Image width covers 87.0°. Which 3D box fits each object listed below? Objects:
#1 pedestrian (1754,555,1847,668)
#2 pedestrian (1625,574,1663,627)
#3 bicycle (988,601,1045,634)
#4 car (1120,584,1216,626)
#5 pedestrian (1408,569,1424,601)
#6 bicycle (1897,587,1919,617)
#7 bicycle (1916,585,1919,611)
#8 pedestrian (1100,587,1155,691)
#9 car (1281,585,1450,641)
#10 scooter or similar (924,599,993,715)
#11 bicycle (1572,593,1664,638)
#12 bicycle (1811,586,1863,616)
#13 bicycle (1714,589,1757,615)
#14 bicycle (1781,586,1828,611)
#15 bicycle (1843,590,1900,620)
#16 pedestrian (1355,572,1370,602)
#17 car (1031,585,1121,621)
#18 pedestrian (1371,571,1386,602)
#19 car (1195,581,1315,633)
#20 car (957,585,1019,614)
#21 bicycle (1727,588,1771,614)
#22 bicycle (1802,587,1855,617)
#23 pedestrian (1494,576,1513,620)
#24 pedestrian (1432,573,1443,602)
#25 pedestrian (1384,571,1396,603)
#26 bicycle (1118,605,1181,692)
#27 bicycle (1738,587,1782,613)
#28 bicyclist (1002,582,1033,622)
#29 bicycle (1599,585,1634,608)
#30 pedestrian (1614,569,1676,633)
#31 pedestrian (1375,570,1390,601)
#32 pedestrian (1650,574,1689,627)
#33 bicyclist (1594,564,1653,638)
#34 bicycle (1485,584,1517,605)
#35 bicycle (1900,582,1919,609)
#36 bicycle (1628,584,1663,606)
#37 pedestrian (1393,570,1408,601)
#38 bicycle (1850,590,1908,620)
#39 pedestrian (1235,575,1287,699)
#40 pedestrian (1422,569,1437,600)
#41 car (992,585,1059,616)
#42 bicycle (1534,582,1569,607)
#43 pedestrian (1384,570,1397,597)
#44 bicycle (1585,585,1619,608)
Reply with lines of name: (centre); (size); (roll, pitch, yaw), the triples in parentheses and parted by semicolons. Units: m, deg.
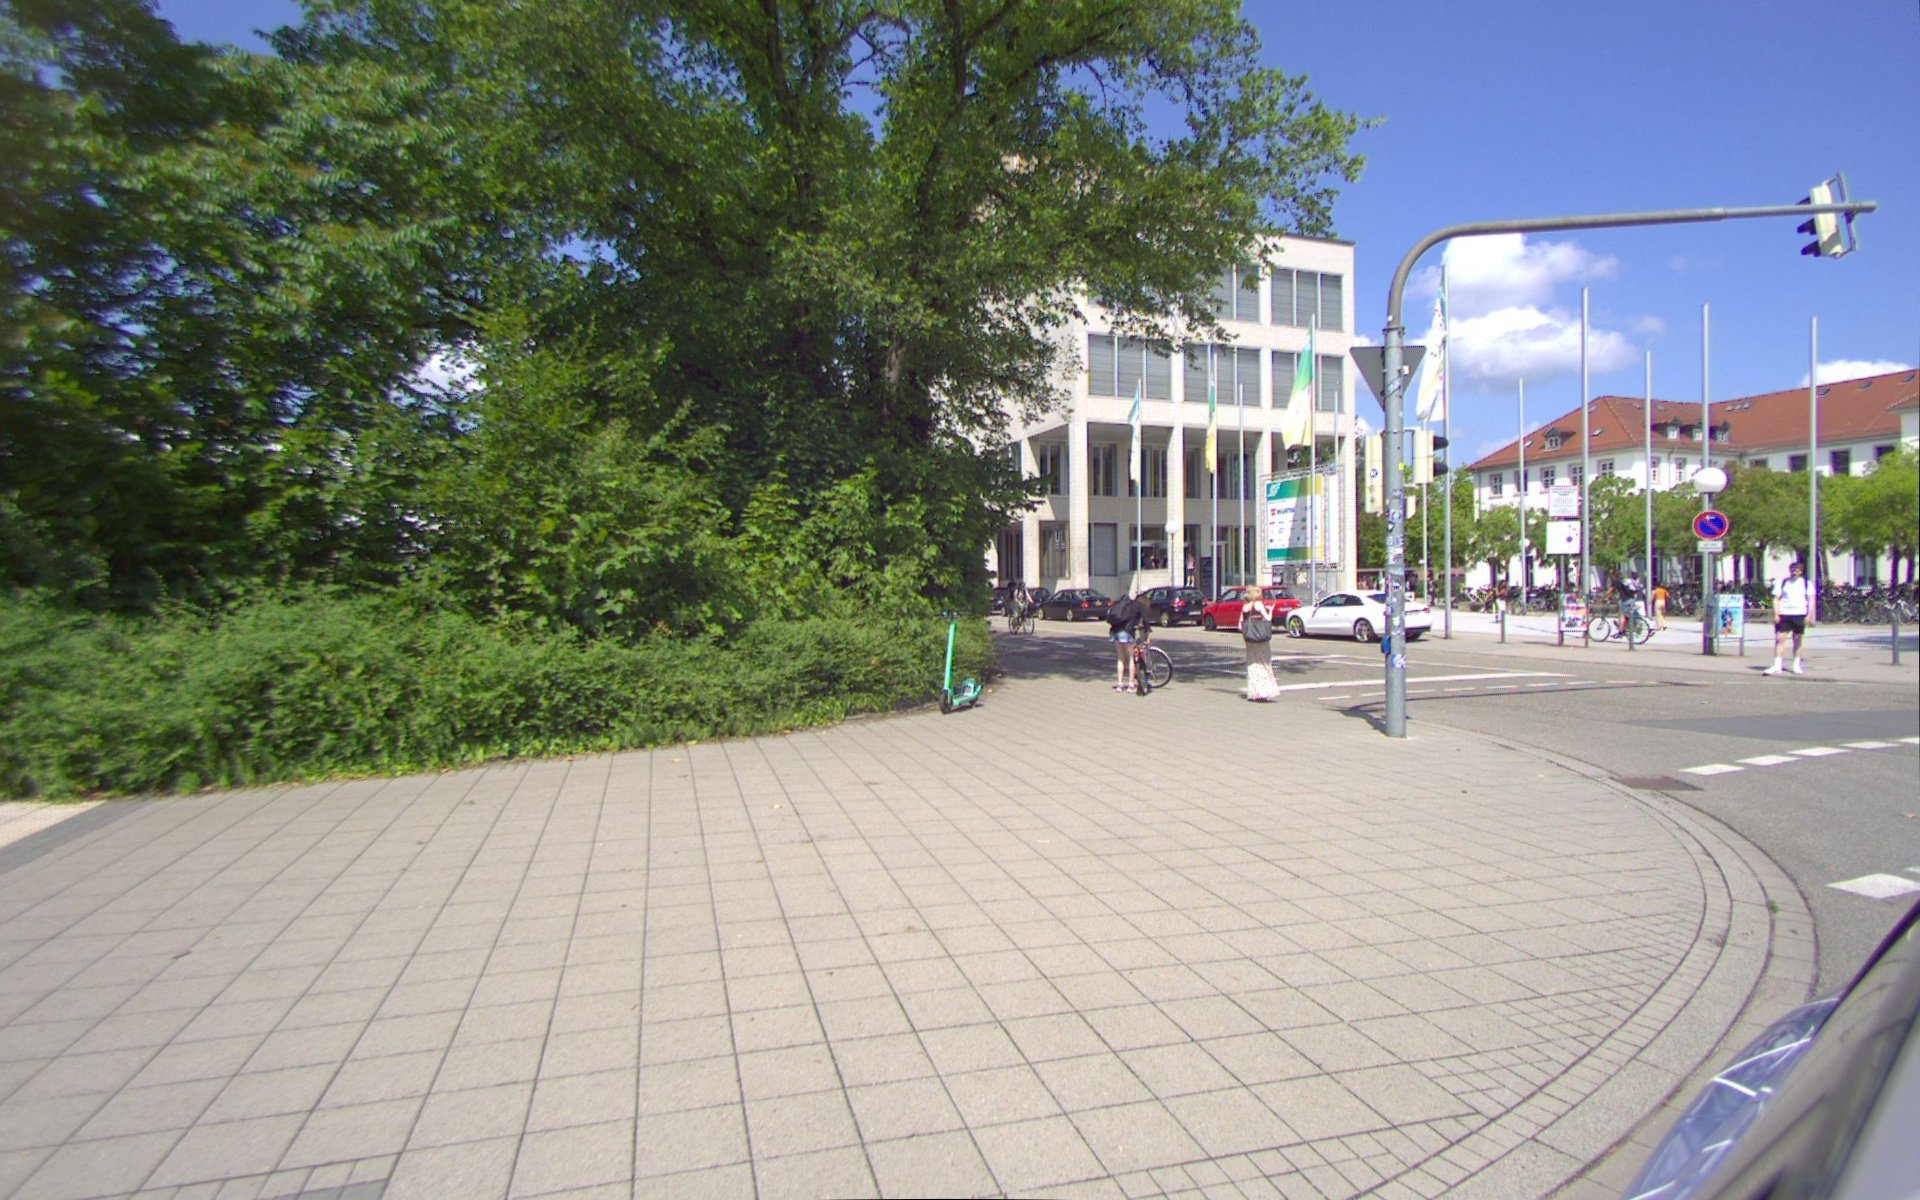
pedestrian: (14.595, 0.185, 17.585); (0.952, 1.896, 0.880); (-1, 0, -22)
pedestrian: (21.890, 0.010, 32.398); (0.673, 1.642, 0.833); (-1, 0, 8)
bicycle: (1.787, 0.531, 32.422); (0.635, 1.011, 2.164); (-1, 0, -34)
car: (7.777, 0.159, 38.120); (1.706, 1.465, 3.938); (-1, 1, -20)
pedestrian: (28.386, -0.939, 63.012); (0.671, 1.926, 0.791); (-1, 0, 38)
bicycle: (31.898, 0.065, 33.435); (0.345, 0.963, 1.374); (-1, 0, -23)
bicycle: (35.509, -0.069, 36.544); (0.345, 0.963, 1.415); (-1, 0, -23)
pedestrian: (2.436, 0.544, 14.684); (0.647, 1.435, 0.783); (2, 1, 18)
car: (11.208, 0.308, 28.338); (1.796, 1.415, 4.451); (-1, 1, -22)
scooter or similar: (0.004, 0.633, 11.815); (0.431, 1.249, 1.223); (1, 1, 18)
bicycle: (17.314, 0.385, 26.695); (0.676, 1.148, 2.058); (-1, 0, -17)
bicycle: (30.679, 0.030, 35.415); (0.345, 1.013, 1.374); (-1, 0, -23)
bicycle: (29.122, 0.058, 38.012); (0.345, 0.963, 1.374); (-1, 0, -14)
bicycle: (33.117, -0.057, 39.710); (0.345, 0.963, 1.374); (-1, 0, -26)
bicycle: (29.818, 0.160, 33.120); (0.345, 0.963, 1.374); (-1, 0, -23)
pedestrian: (25.828, -0.851, 64.911); (0.671, 1.926, 0.791); (-1, 0, 38)
car: (5.005, 0.091, 44.305); (1.960, 1.458, 4.410); (-1, 1, -23)
pedestrian: (26.619, -0.861, 64.393); (0.671, 1.926, 0.791); (-1, 0, 38)
car: (9.596, 0.188, 33.167); (1.736, 1.576, 3.824); (-1, 1, -23)
car: (1.431, -0.049, 53.329); (1.656, 1.414, 4.154); (-1, 1, -23)
bicycle: (29.583, 0.038, 37.970); (0.345, 0.963, 1.374); (-1, 0, -14)
bicycle: (30.217, 0.051, 35.232); (0.345, 1.013, 1.374); (-1, 0, -23)
pedestrian: (20.131, -0.087, 37.467); (0.531, 1.610, 0.433); (0, 0, 19)
pedestrian: (25.649, -0.665, 54.393); (0.467, 1.555, 0.559); (-1, 0, 19)
pedestrian: (23.401, -0.713, 55.050); (0.470, 1.735, 0.377); (-1, 0, 39)
bicycle: (2.770, 0.668, 14.677); (0.663, 1.157, 1.653); (2, 0, 19)
bicycle: (30.114, 0.001, 38.113); (0.345, 0.963, 1.374); (-1, 0, -14)
bicyclist: (1.841, 0.057, 32.381); (0.607, 1.241, 0.834); (-1, 0, -34)
bicycle: (28.003, -0.162, 43.208); (0.345, 0.963, 1.374); (-1, 0, -14)
pedestrian: (20.349, 0.033, 30.106); (0.686, 1.872, 1.324); (-1, -1, -20)
pedestrian: (26.734, -0.934, 64.034); (0.671, 1.926, 0.791); (-1, 0, 38)
pedestrian: (22.691, 0.005, 32.386); (0.673, 1.642, 0.834); (-1, 0, 6)
bicyclist: (17.357, 0.021, 26.476); (0.670, 1.877, 1.090); (-1, 0, -16)
bicycle: (25.996, -0.263, 48.621); (0.345, 0.963, 1.373); (-1, 0, -29)
bicycle: (34.494, -0.173, 36.072); (0.345, 0.963, 1.415); (-1, 0, -23)
bicycle: (30.178, -0.208, 44.575); (0.345, 0.963, 1.374); (-1, 0, -14)
pedestrian: (27.680, -0.932, 63.600); (0.671, 1.926, 0.791); (-1, 0, 38)
bicycle: (30.313, 0.145, 33.394); (0.345, 0.958, 1.374); (-1, 0, -23)
pedestrian: (4.108, 0.494, 13.818); (0.637, 1.647, 0.632); (-1, 0, 18)
pedestrian: (29.403, -0.982, 63.358); (0.671, 1.926, 0.791); (-1, 0, 38)
car: (3.146, -0.002, 49.372); (1.763, 1.448, 3.724); (-1, 1, -23)
bicycle: (26.443, -0.248, 45.257); (0.345, 1.088, 1.373); (-1, 0, -29)
pedestrian: (31.754, -1.228, 74.644); (0.671, 1.926, 0.791); (-1, 0, 38)
bicycle: (27.343, -0.141, 43.107); (0.345, 0.963, 1.374); (-1, 0, -14)
